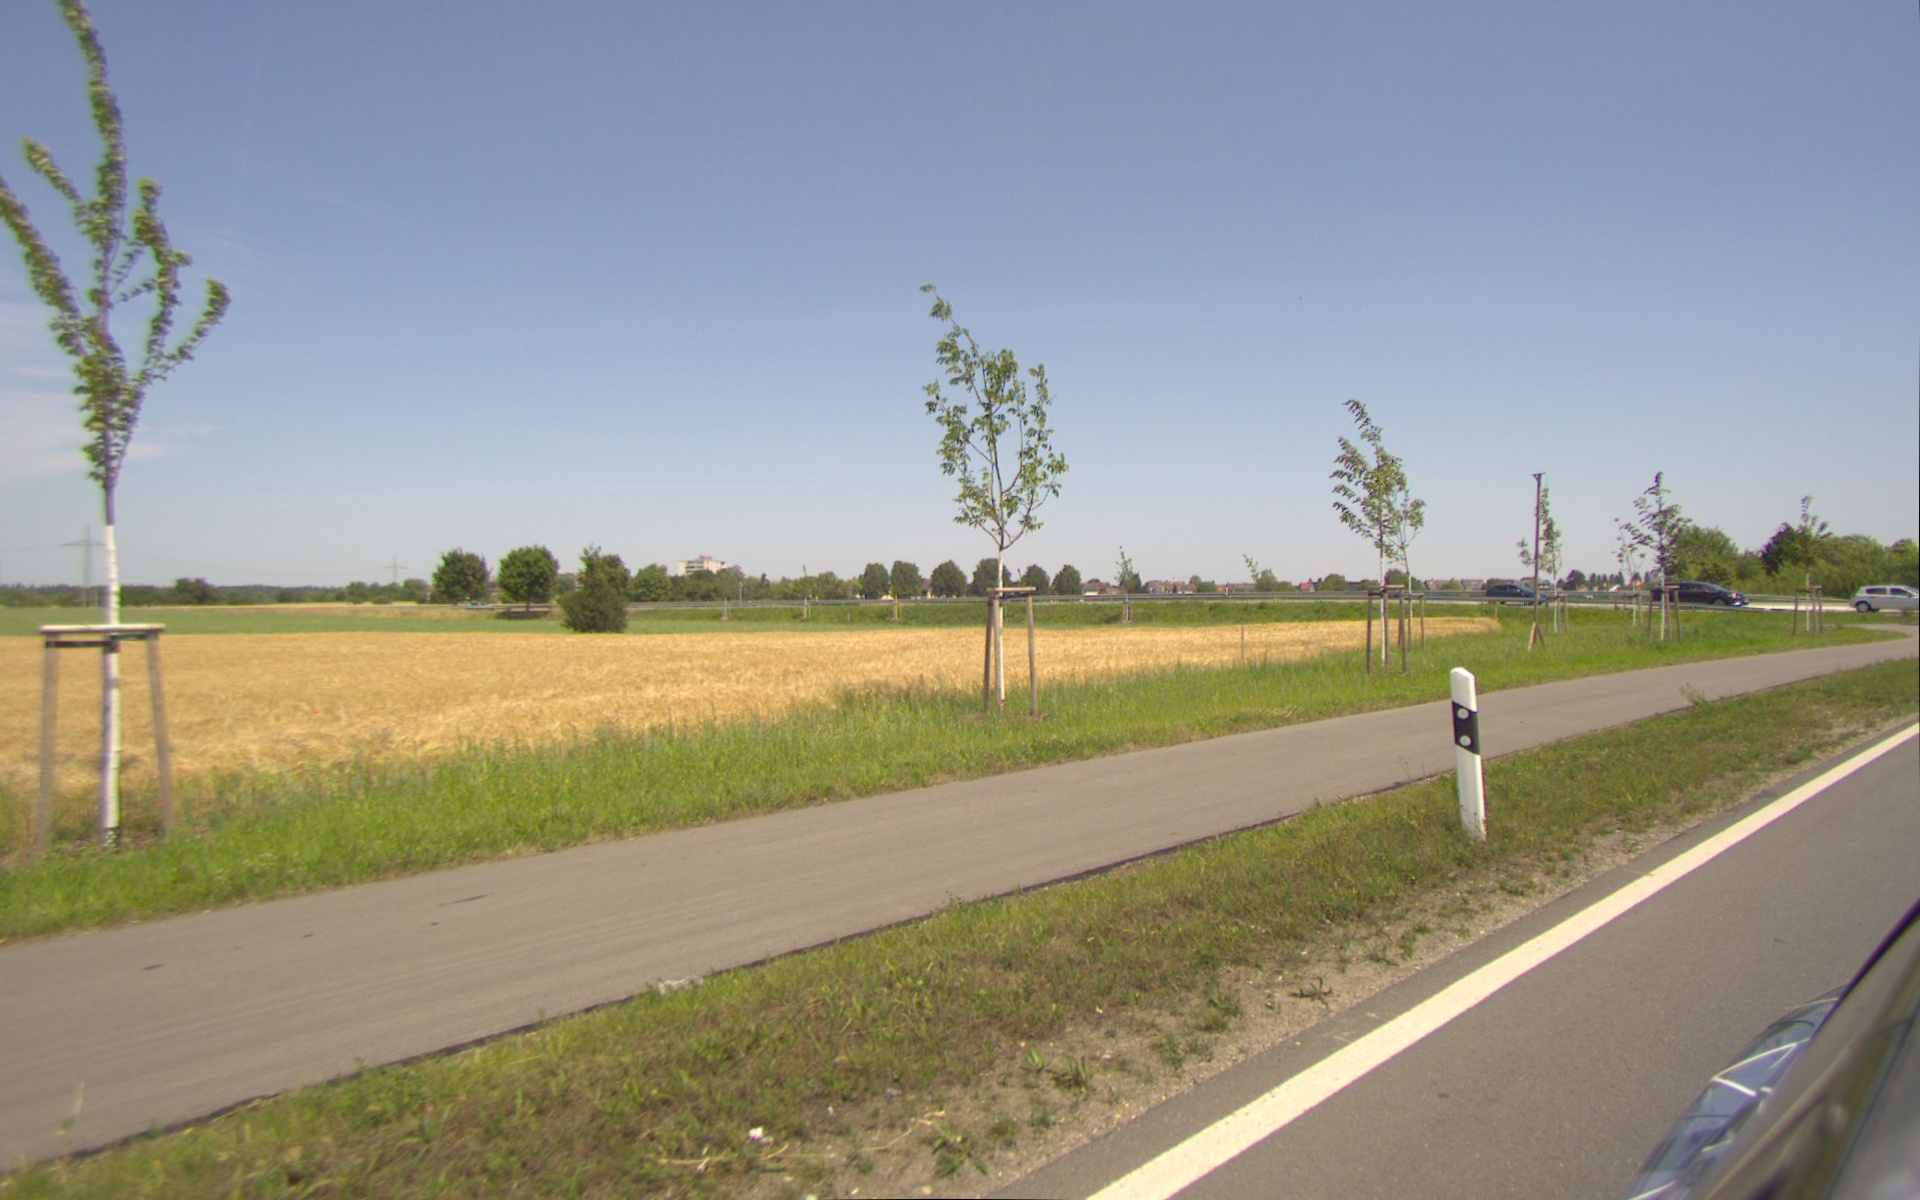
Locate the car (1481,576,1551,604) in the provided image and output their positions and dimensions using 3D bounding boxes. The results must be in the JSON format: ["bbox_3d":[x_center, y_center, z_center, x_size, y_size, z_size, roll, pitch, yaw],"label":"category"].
[{"bbox_3d":[38.510,-0.673,70.144,3.905,1.831,1.891,-1,0,43],"label":"car"}]

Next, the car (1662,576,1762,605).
[{"bbox_3d":[45.000,-0.583,60.659,1.778,1.661,4.531,-1,2,-30],"label":"car"}]

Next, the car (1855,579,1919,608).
[{"bbox_3d":[49.644,-0.332,52.763,1.628,1.478,4.156,-1,1,-30],"label":"car"}]
